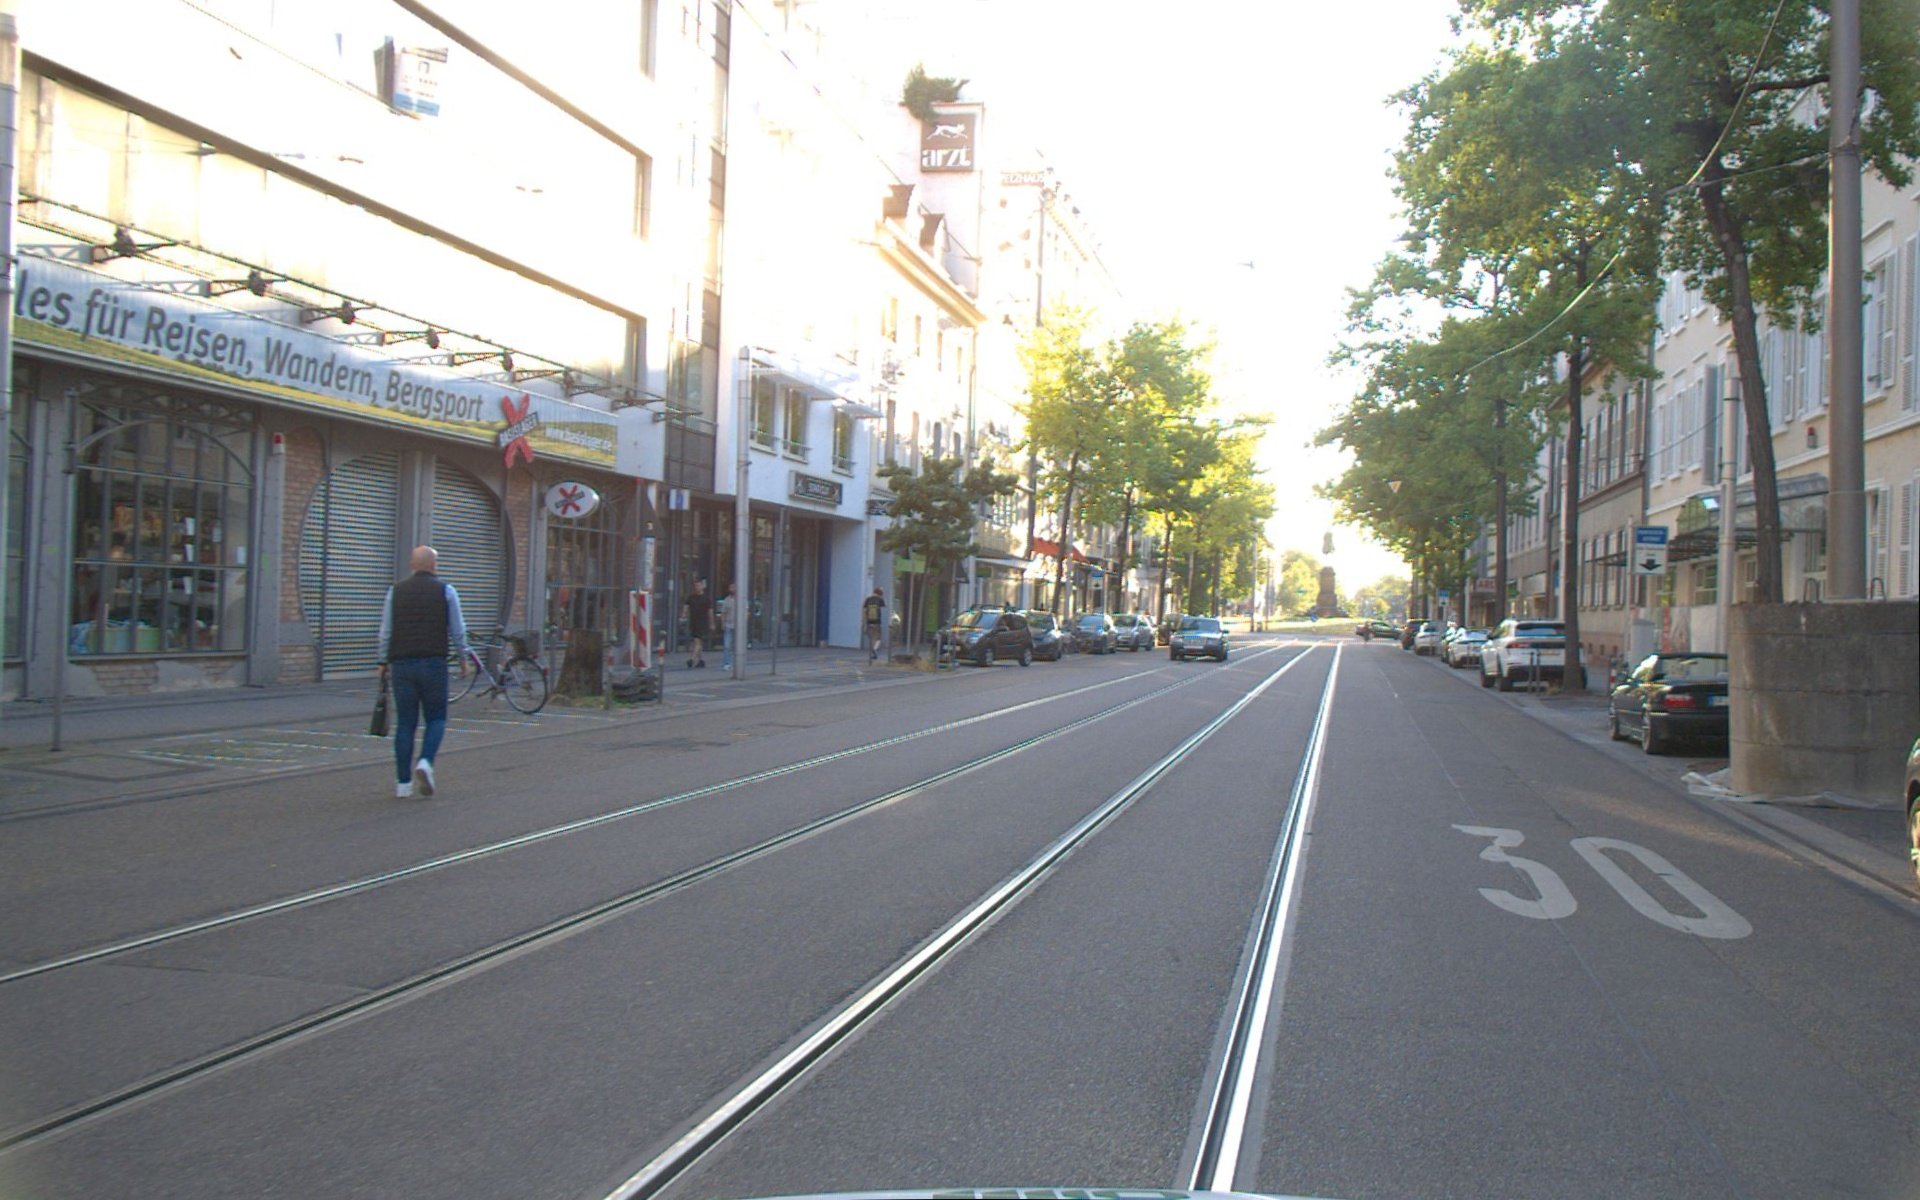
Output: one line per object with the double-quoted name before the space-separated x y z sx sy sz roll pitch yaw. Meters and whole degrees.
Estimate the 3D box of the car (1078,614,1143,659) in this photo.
"car" 5.694 1.339 62.139 1.675 1.486 4.489 4 0 14

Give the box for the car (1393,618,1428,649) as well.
"car" 27.501 2.046 101.145 1.897 1.790 4.683 -2 -1 14

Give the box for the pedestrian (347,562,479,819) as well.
"pedestrian" -4.009 0.638 12.109 0.838 1.797 0.827 2 0 -21

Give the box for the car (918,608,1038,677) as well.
"car" 0.524 1.115 44.157 1.600 1.644 3.702 4 1 28

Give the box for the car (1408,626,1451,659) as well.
"car" 23.649 2.143 83.411 1.951 1.525 4.683 -1 0 14

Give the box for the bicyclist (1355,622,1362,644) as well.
"bicyclist" 27.521 2.278 114.093 0.419 1.507 0.466 2 0 14

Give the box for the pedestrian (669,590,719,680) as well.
"pedestrian" -5.341 0.695 33.261 0.614 1.742 0.808 3 0 18

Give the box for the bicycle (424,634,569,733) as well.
"bicycle" -5.693 1.014 20.297 1.710 1.009 0.478 6 2 21

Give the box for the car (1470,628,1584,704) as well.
"car" 13.795 1.556 40.525 1.955 1.717 4.972 0 -1 11

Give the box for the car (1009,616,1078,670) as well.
"car" 2.678 1.324 52.285 1.754 1.516 4.246 4 0 8

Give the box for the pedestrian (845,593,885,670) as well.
"pedestrian" -2.387 0.781 41.535 0.646 1.856 0.879 4 1 14

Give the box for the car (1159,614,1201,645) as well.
"car" 12.968 1.722 97.322 1.798 1.607 4.119 6 1 14

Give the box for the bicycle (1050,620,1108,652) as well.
"bicycle" 4.094 1.229 57.042 1.929 1.019 0.331 2 0 17

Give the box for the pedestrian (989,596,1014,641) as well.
"pedestrian" 1.609 0.720 64.515 0.772 1.723 0.914 2 0 13

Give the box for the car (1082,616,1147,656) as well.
"car" 6.392 1.475 68.169 1.730 1.523 4.176 2 0 19

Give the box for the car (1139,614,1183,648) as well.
"car" 9.732 1.475 79.904 1.631 1.453 3.830 5 1 13

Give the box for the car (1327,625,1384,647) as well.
"car" 33.744 3.055 141.051 4.576 1.713 2.001 2 0 16

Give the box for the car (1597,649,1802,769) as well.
"car" 9.752 1.371 22.136 1.756 1.334 4.333 0 0 14

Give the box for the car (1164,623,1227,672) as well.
"car" 7.793 1.544 54.493 1.741 1.432 4.531 2 0 12

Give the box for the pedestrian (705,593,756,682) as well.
"pedestrian" -4.603 0.744 33.211 0.628 1.742 0.829 3 0 18

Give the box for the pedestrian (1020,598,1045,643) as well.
"pedestrian" 2.839 0.803 64.510 0.826 1.723 0.741 2 0 13

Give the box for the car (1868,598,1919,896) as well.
"car" 6.536 0.892 9.023 1.911 1.824 4.318 0 -1 17

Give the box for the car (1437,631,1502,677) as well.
"car" 17.580 1.837 57.250 1.872 1.445 4.891 -1 0 14

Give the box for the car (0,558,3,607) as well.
"car" -7.791 0.547 8.713 1.951 1.784 4.748 4 1 13

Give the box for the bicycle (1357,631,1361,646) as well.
"bicycle" 27.494 2.645 114.049 0.258 1.000 1.339 2 0 14
